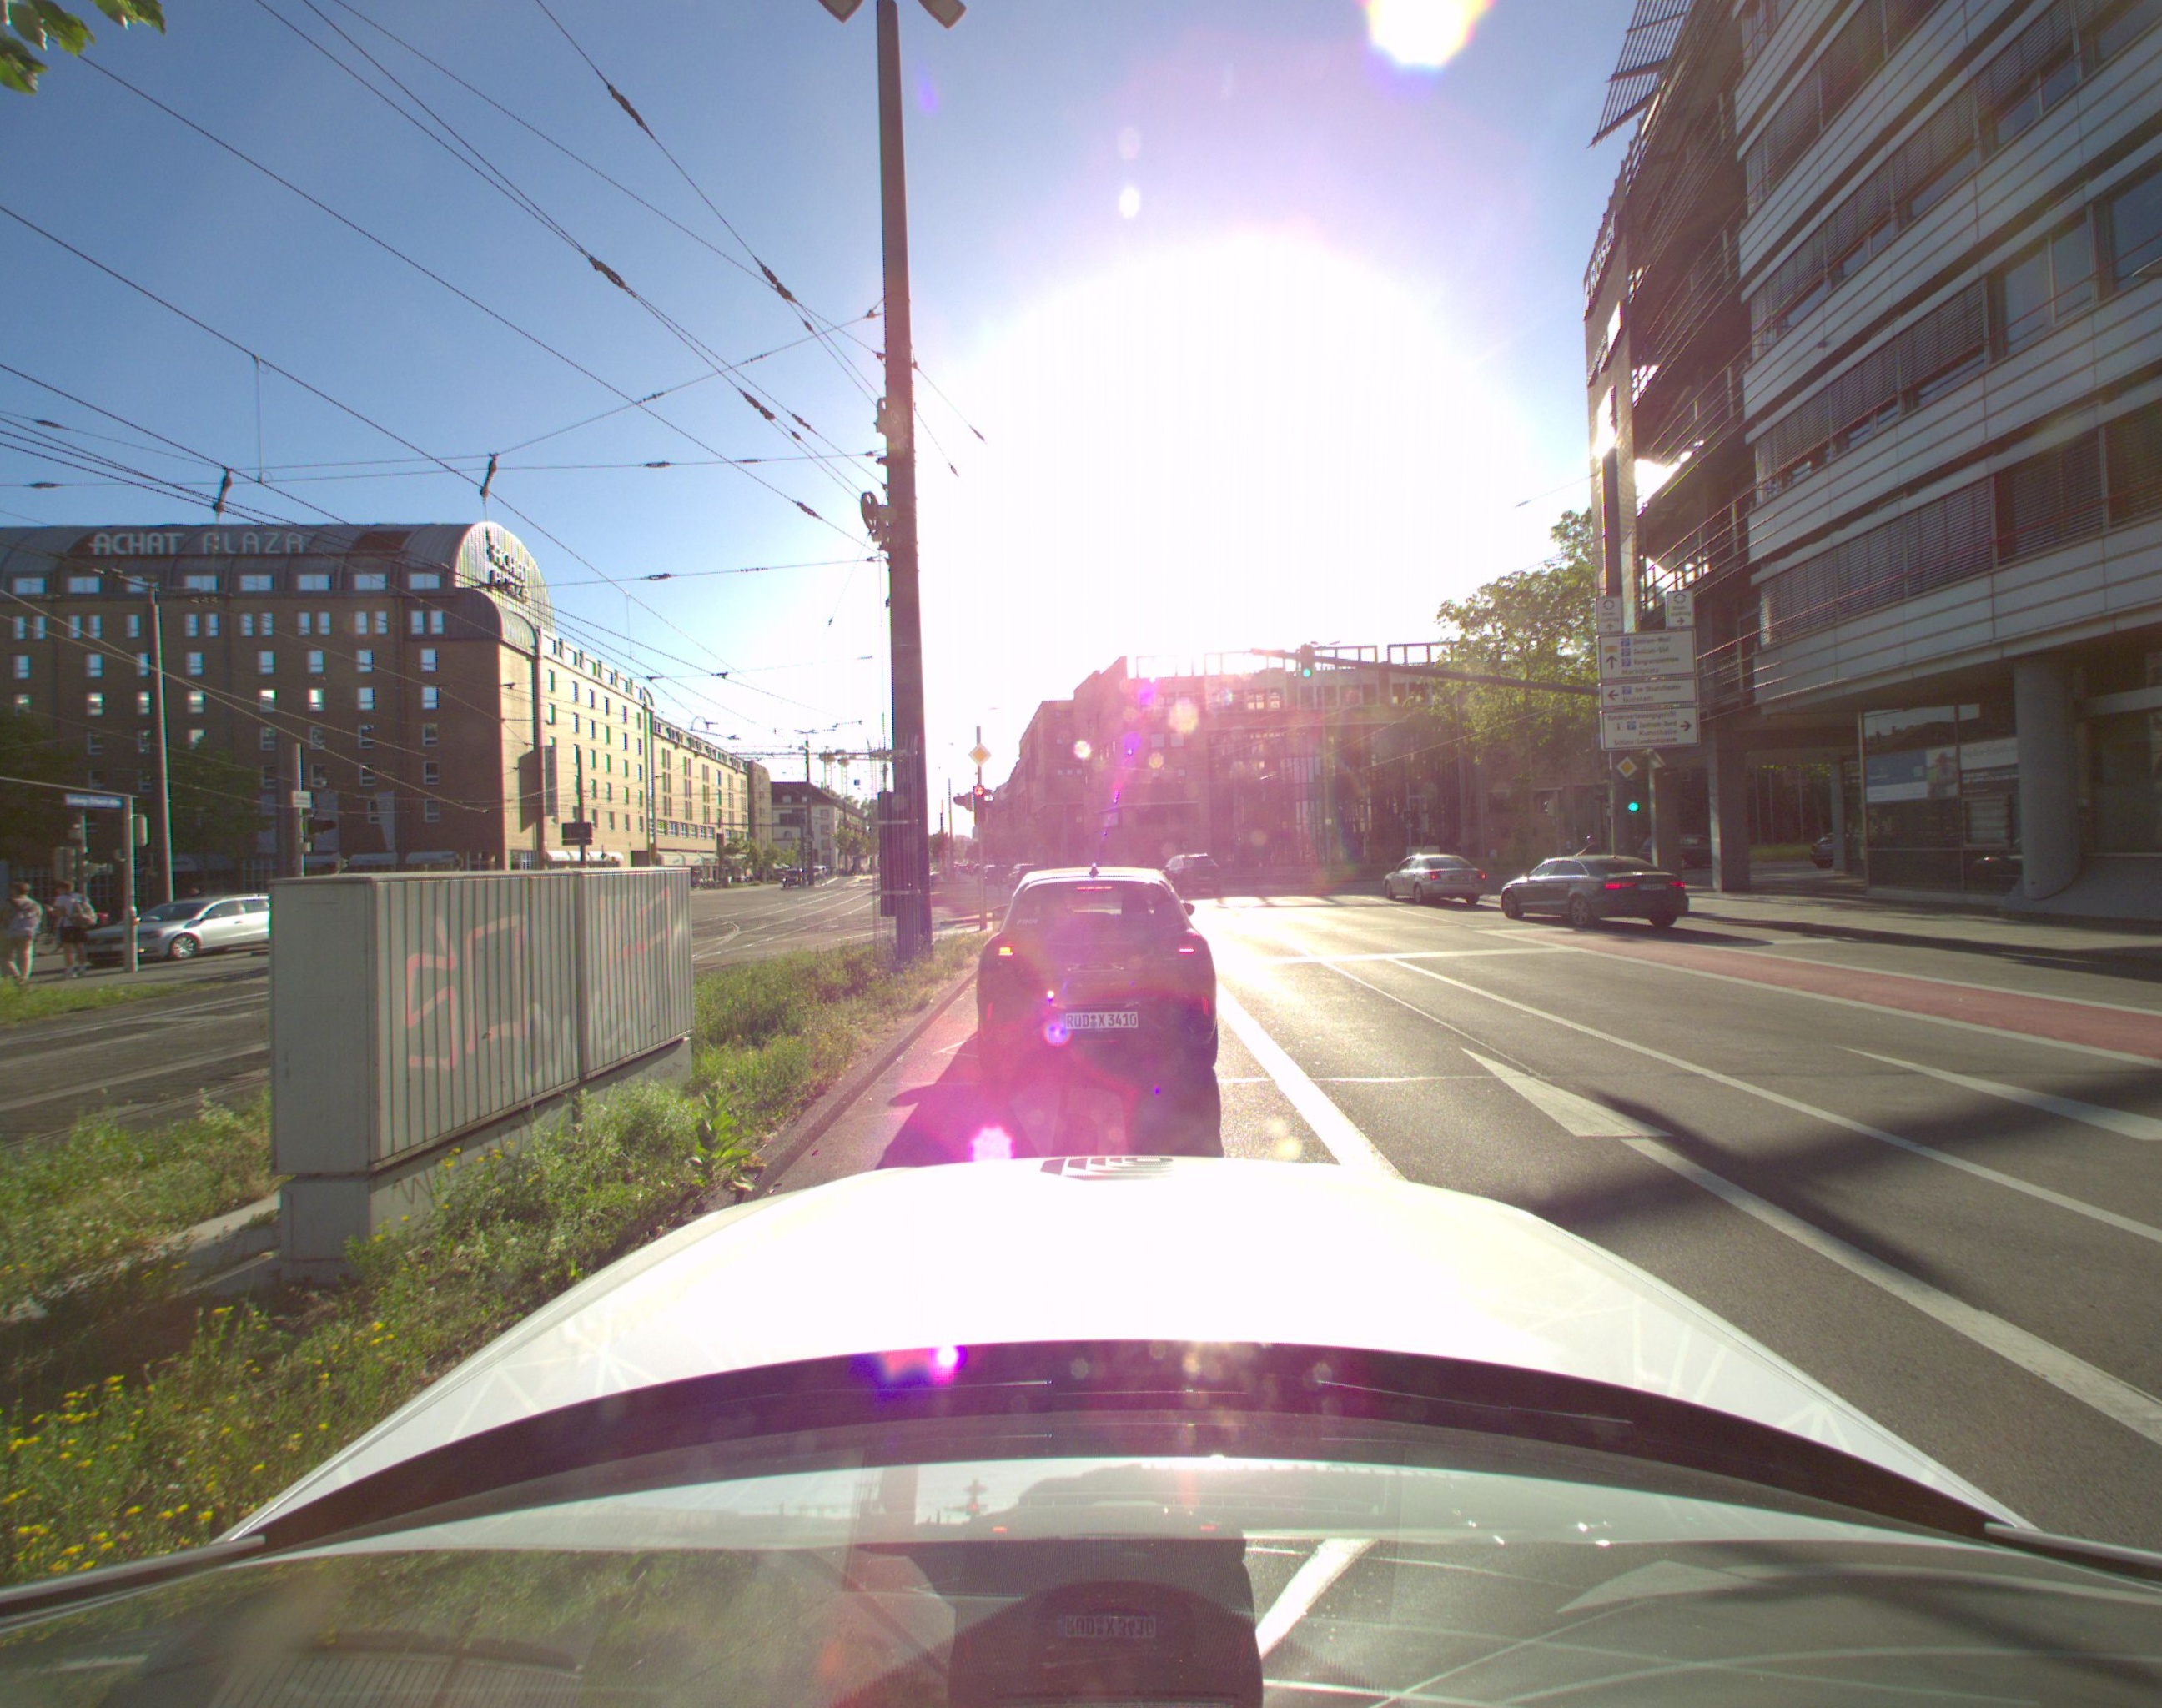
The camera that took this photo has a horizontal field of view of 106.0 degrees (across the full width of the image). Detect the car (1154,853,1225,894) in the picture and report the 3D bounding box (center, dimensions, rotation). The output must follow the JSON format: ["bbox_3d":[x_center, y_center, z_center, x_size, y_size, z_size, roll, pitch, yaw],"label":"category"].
[{"bbox_3d":[4.368,0.768,33.328,1.745,1.505,3.867,-2,0,-10],"label":"car"}]

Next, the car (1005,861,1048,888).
[{"bbox_3d":[-3.299,1.195,48.646,1.689,1.433,4.130,-2,0,-16],"label":"car"}]

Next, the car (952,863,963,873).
[{"bbox_3d":[-21.454,2.349,141.289,1.737,1.651,3.987,-2,0,-9],"label":"car"}]

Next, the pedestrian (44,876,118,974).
[{"bbox_3d":[-19.252,1.344,15.698,0.562,1.817,0.662,-2,0,-5],"label":"pedestrian"}]

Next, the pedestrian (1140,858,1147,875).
[{"bbox_3d":[5.498,1.066,71.219,0.527,1.430,0.598,-2,0,1],"label":"pedestrian"}]

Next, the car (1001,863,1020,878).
[{"bbox_3d":[-6.983,1.624,80.550,1.804,1.457,3.994,-1,0,-4],"label":"car"}]

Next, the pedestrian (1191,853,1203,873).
[{"bbox_3d":[9.538,0.777,67.141,0.894,1.617,0.562,-2,0,10],"label":"pedestrian"}]

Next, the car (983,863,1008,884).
[{"bbox_3d":[-6.715,1.500,63.457,1.810,1.492,4.484,-3,0,-7],"label":"car"}]

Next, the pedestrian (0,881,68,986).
[{"bbox_3d":[-19.158,1.433,14.791,0.630,1.830,0.662,-2,0,-5],"label":"pedestrian"}]

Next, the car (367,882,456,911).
[{"bbox_3d":[-41.474,2.621,50.529,3.975,1.550,1.759,-2,0,-1],"label":"car"}]

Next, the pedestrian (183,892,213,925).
[{"bbox_3d":[-42.235,2.618,38.954,0.674,1.503,0.659,-2,0,-1],"label":"pedestrian"}]

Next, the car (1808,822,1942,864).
[{"bbox_3d":[32.681,-0.427,33.584,3.981,1.651,1.861,-1,0,-6],"label":"car"}]

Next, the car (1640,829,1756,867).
[{"bbox_3d":[28.927,-0.289,38.240,4.446,1.629,1.688,-2,0,-9],"label":"car"}]

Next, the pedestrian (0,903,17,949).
[{"bbox_3d":[-38.935,2.590,29.107,0.695,1.597,0.840,-1,-1,-2],"label":"pedestrian"}]

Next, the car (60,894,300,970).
[{"bbox_3d":[-22.105,1.841,20.249,1.569,1.449,3.996,-2,0,-3],"label":"car"}]

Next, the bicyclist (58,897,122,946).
[{"bbox_3d":[-29.967,2.020,24.642,0.756,1.375,0.949,-2,0,-6],"label":"bicyclist"}]

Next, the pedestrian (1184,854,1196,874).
[{"bbox_3d":[9.075,0.809,67.835,0.894,1.617,0.562,-2,0,10],"label":"pedestrian"}]

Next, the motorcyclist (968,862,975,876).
[{"bbox_3d":[-12.573,1.718,93.517,0.743,1.530,1.019,-2,0,-4],"label":"motorcyclist"}]

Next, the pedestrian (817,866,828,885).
[{"bbox_3d":[-23.001,1.904,72.418,0.765,1.640,0.741,-2,0,-11],"label":"pedestrian"}]

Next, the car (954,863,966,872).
[{"bbox_3d":[-18.694,2.111,125.823,1.737,1.349,3.986,-2,0,-10],"label":"car"}]

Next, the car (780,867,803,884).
[{"bbox_3d":[-28.170,2.042,79.345,1.748,1.505,3.860,-2,0,-15],"label":"car"}]

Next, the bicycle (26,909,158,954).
[{"bbox_3d":[-29.963,2.319,24.770,0.649,1.085,2.920,-2,0,-6],"label":"bicycle"}]

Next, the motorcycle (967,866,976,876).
[{"bbox_3d":[-12.570,1.915,93.544,0.774,1.115,1.966,-2,0,-4],"label":"motorcycle"}]

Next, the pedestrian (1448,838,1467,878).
[{"bbox_3d":[16.992,0.194,36.727,0.700,1.759,0.564,-2,-1,27],"label":"pedestrian"}]

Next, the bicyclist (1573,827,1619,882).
[{"bbox_3d":[15.193,0.028,24.037,0.623,1.566,1.042,-2,0,-4],"label":"bicyclist"}]

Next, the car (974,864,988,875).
[{"bbox_3d":[-13.749,2.090,112.257,1.805,1.457,3.991,-1,0,-6],"label":"car"}]

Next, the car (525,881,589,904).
[{"bbox_3d":[-36.426,2.634,56.732,1.748,1.388,4.000,-2,0,0],"label":"car"}]

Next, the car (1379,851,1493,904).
[{"bbox_3d":[10.864,0.667,25.304,1.743,1.431,4.492,-2,0,3],"label":"car"}]

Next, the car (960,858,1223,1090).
[{"bbox_3d":[0.172,0.782,7.208,1.642,1.433,4.003,-2,0,3],"label":"car"}]

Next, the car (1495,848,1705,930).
[{"bbox_3d":[10.432,0.639,16.782,1.705,1.441,4.110,-1,0,0],"label":"car"}]
